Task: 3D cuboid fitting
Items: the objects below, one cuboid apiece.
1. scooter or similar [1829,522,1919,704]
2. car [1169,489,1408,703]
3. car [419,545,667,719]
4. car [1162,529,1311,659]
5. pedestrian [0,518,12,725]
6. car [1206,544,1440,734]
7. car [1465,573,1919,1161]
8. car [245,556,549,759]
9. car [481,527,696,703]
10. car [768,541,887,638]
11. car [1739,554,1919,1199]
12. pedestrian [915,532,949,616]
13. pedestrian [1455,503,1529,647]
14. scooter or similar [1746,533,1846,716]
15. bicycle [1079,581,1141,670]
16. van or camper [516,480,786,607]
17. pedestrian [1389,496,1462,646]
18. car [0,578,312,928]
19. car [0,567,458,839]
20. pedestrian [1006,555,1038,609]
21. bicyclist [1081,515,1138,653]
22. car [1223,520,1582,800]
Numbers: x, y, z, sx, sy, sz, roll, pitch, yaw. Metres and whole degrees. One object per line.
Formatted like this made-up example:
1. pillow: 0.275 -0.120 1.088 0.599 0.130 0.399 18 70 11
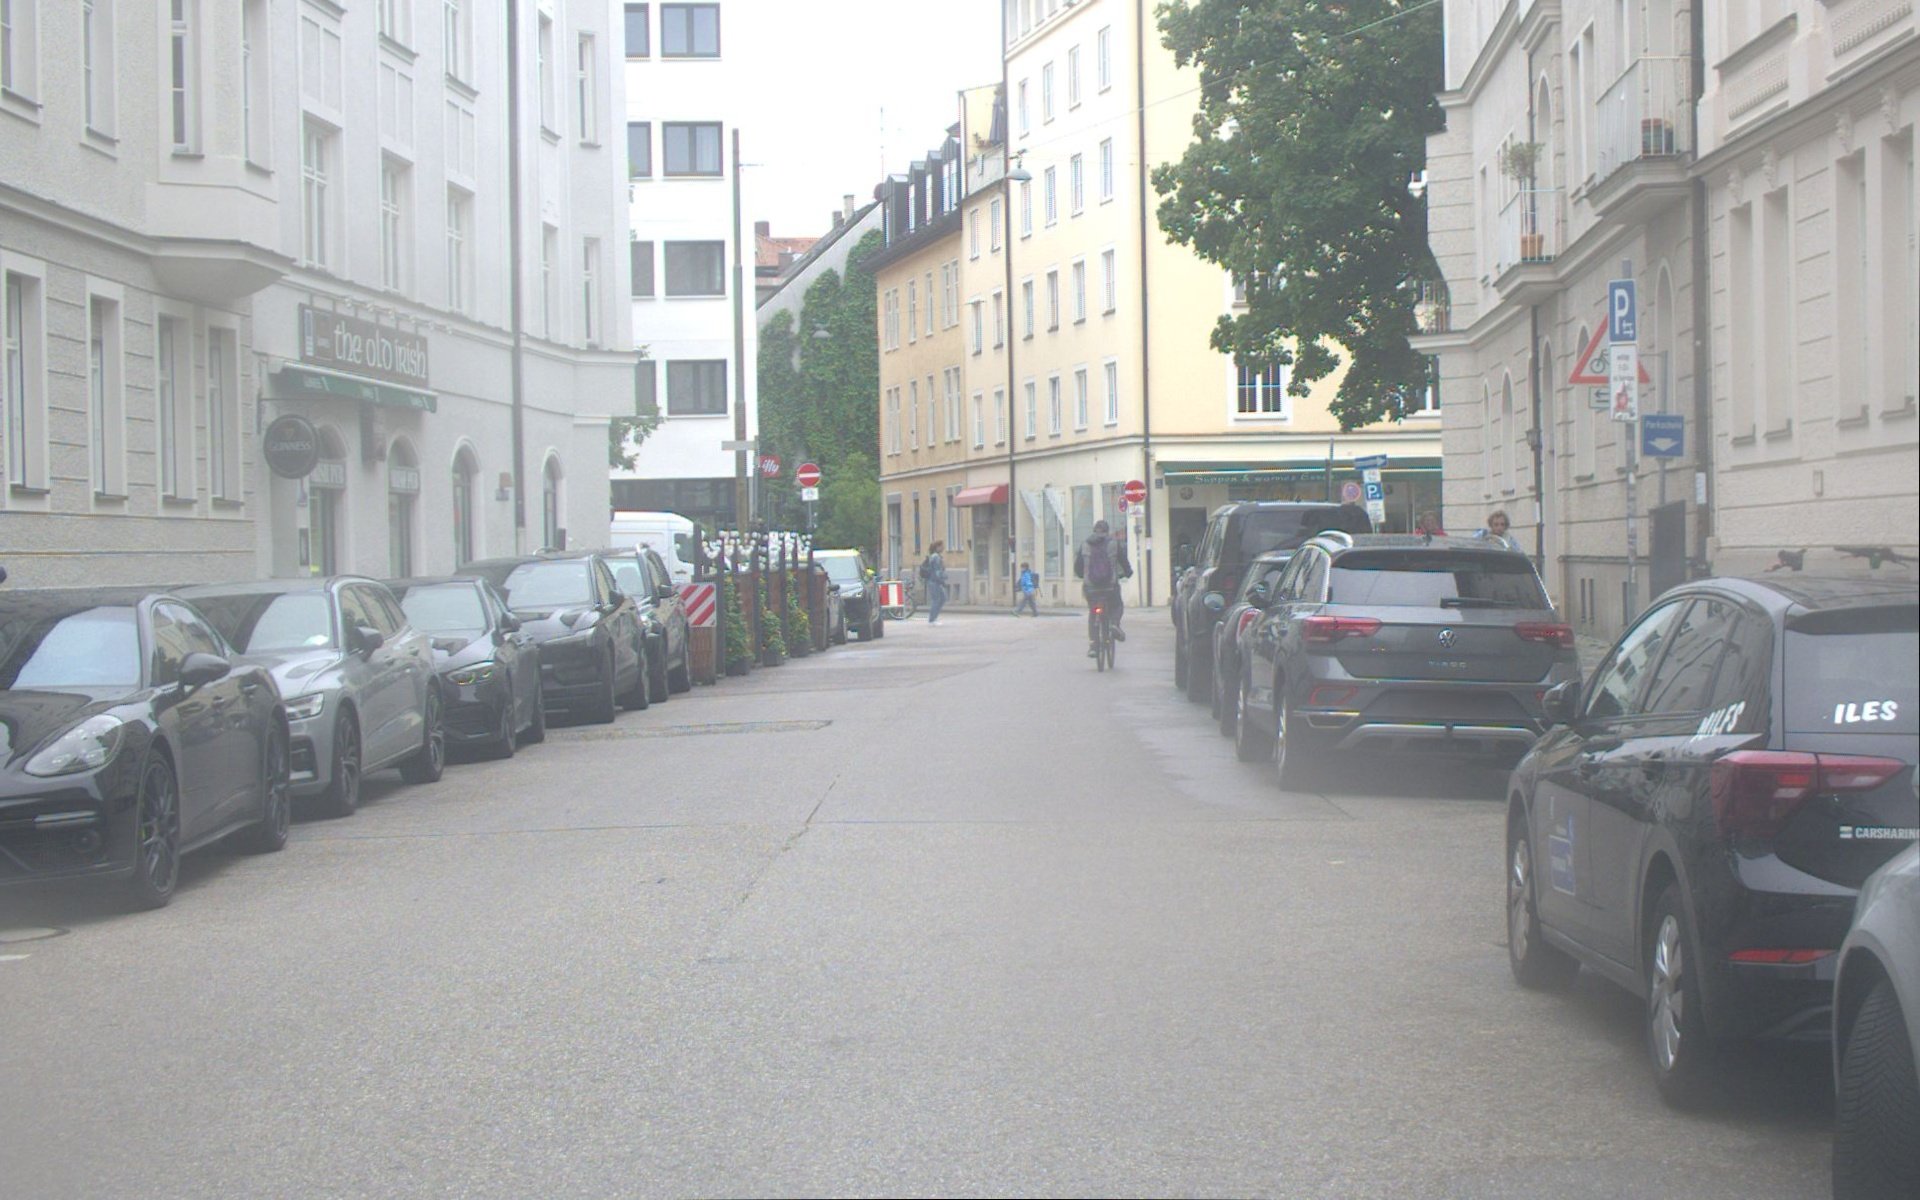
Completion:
1. scooter or similar: 6.753 0.077 25.323 0.507 1.283 1.351 -3 1 10
2. car: 3.092 -0.083 33.253 1.911 1.879 4.714 1 1 1
3. car: -3.836 0.251 32.233 1.742 1.481 4.181 -1 1 1
4. car: 3.380 -0.111 41.975 1.707 1.466 4.200 -1 1 5
5. pedestrian: -8.225 0.179 28.191 0.697 1.701 0.665 -1 1 -1
6. car: 2.847 0.260 27.555 1.664 1.390 3.581 1 1 3
7. car: 2.634 0.648 10.479 1.612 1.390 4.000 1 1 0
8. car: -4.386 0.392 27.397 1.810 1.380 4.444 -2 1 -2
9. car: -3.953 0.106 37.220 1.746 1.667 4.276 -4 1 0
10. car: -2.317 -0.207 60.864 1.676 1.591 3.945 -3 1 3
11. car: 2.673 0.678 5.808 1.708 1.496 4.000 0 1 -2
12. pedestrian: -0.556 -0.524 69.017 0.611 1.655 0.551 -1 1 6
13. pedestrian: 6.303 -0.301 40.756 0.679 1.668 0.654 -3 1 -1
14. scooter or similar: 6.172 0.161 25.420 0.540 1.283 1.503 -3 1 9
15. bicycle: 1.781 0.292 40.668 0.639 1.001 1.574 -1 1 5
16. van or camper: -6.929 -1.262 77.094 5.903 2.668 1.873 -1 -1 -6
17. pedestrian: 5.464 -0.350 40.357 0.703 1.722 0.703 -2 1 -1
18. car: -4.438 0.623 16.450 1.849 1.362 4.703 -1 1 -1
19. car: -4.509 0.568 21.887 1.794 1.415 4.510 -4 1 1
20. pedestrian: 1.497 -0.444 82.769 0.699 1.266 0.651 -2 1 6
21. bicyclist: 1.769 -0.195 40.669 0.606 1.601 0.757 -1 1 5
22. car: 2.698 0.298 21.785 1.707 1.582 4.000 1 1 -1
